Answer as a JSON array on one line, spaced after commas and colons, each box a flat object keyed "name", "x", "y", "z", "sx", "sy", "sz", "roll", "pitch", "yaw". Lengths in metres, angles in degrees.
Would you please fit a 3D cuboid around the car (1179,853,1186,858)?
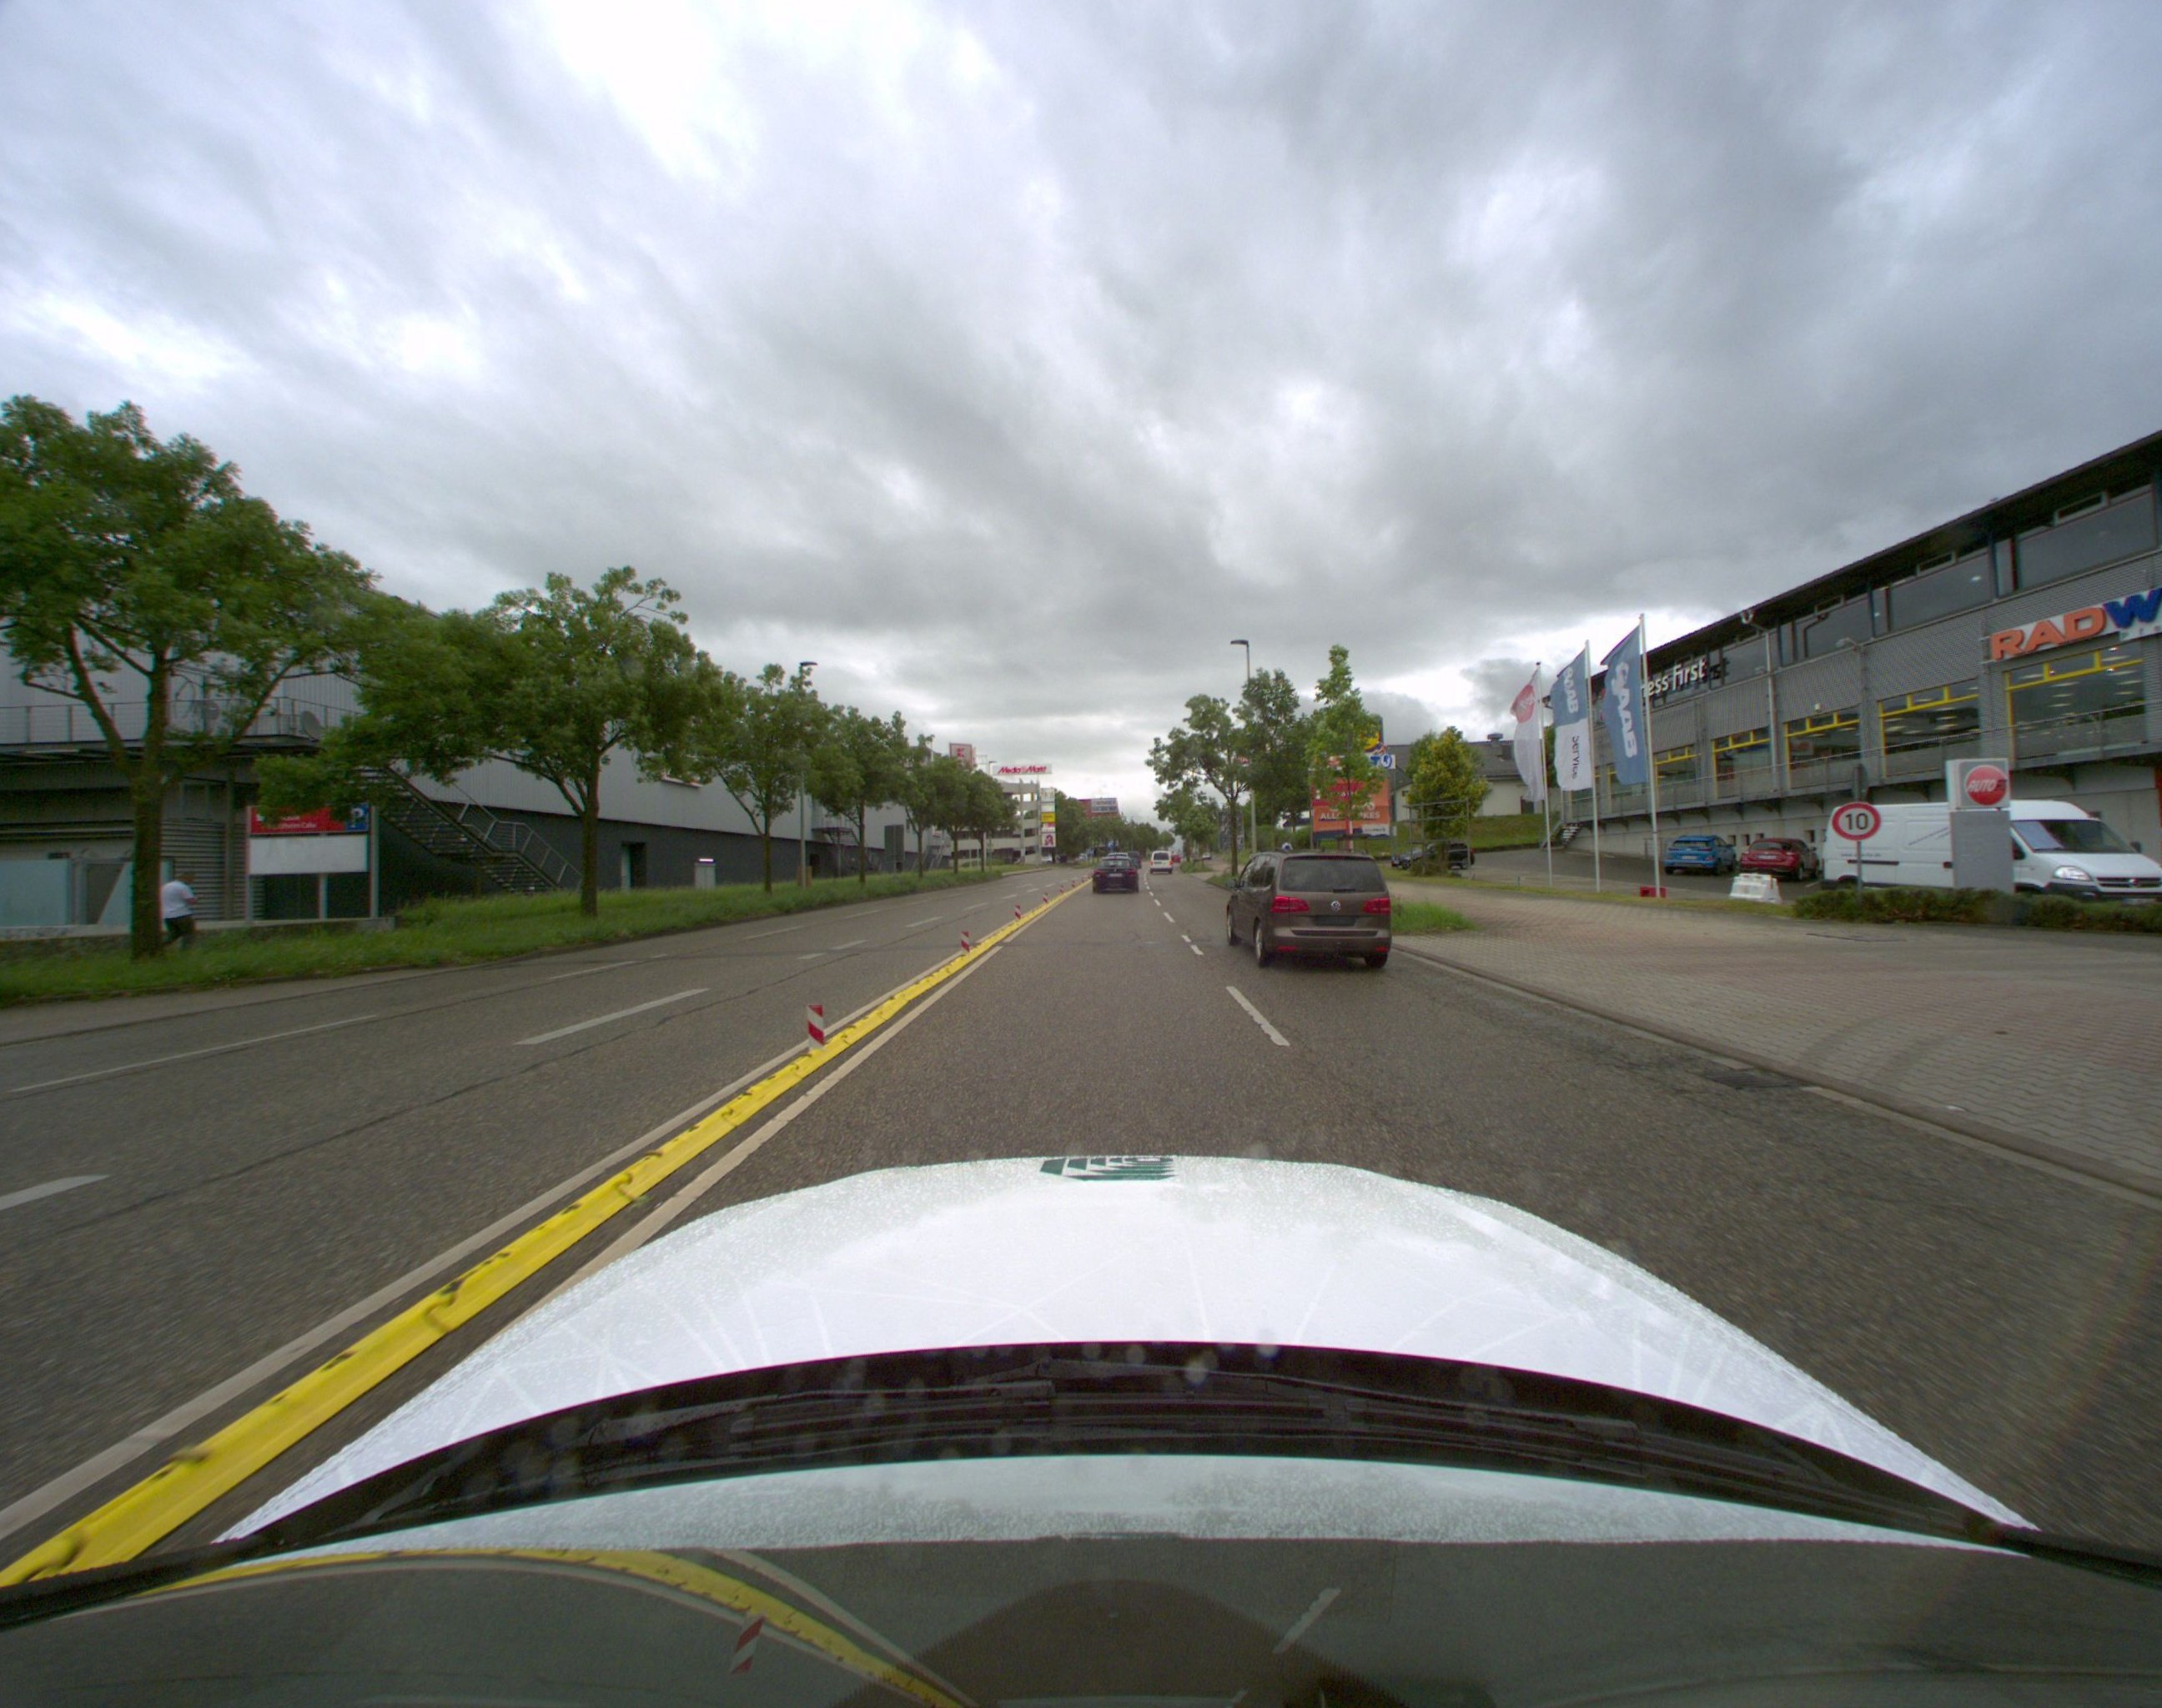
[{"name": "car", "x": 28.576, "y": 0.428, "z": 229.430, "sx": 1.786, "sy": 1.510, "sz": 4.005, "roll": 0, "pitch": -1, "yaw": 5}]

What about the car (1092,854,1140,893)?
[{"name": "car", "x": 1.459, "y": 0.757, "z": 33.551, "sx": 1.820, "sy": 1.468, "sz": 4.003, "roll": -1, "pitch": 0, "yaw": 3}]

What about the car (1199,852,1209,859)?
[{"name": "car", "x": 25.526, "y": 0.284, "z": 168.778, "sx": 1.785, "sy": 1.510, "sz": 4.006, "roll": 0, "pitch": -1, "yaw": 5}]

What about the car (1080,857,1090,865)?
[{"name": "car", "x": 0.973, "y": 1.625, "z": 196.712, "sx": 2.029, "sy": 1.762, "sz": 4.955, "roll": 0, "pitch": 1, "yaw": 6}]

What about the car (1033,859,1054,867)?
[{"name": "car", "x": -8.606, "y": 2.014, "z": 188.043, "sx": 4.583, "sy": 1.745, "sz": 1.968, "roll": -1, "pitch": 1, "yaw": 1}]

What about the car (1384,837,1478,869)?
[{"name": "car", "x": 17.552, "y": -0.057, "z": 40.901, "sx": 4.091, "sy": 1.438, "sz": 1.791, "roll": -2, "pitch": 2, "yaw": -10}]

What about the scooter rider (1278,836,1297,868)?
[{"name": "scooter rider", "x": 12.207, "y": -0.110, "z": 48.158, "sx": 0.694, "sy": 1.820, "sz": 0.856, "roll": -3, "pitch": -3, "yaw": -7}]

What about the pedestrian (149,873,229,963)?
[{"name": "pedestrian", "x": -16.339, "y": 1.143, "z": 14.933, "sx": 0.581, "sy": 1.583, "sz": 0.768, "roll": 0, "pitch": 0, "yaw": 4}]

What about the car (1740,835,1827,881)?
[{"name": "car", "x": 26.269, "y": 0.101, "z": 30.437, "sx": 3.893, "sy": 1.501, "sz": 1.720, "roll": -3, "pitch": 2, "yaw": -38}]

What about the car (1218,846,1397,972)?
[{"name": "car", "x": 3.220, "y": 0.682, "z": 12.410, "sx": 1.679, "sy": 1.581, "sz": 4.220, "roll": 0, "pitch": 1, "yaw": 2}]

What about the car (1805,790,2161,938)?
[{"name": "car", "x": 18.402, "y": 0.077, "z": 16.789, "sx": 2.217, "sy": 2.536, "sz": 5.689, "roll": 0, "pitch": 2, "yaw": 5}]

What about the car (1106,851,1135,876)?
[{"name": "car", "x": 2.586, "y": 0.615, "z": 52.510, "sx": 1.786, "sy": 1.510, "sz": 4.004, "roll": 0, "pitch": -1, "yaw": 4}]

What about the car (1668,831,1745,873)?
[{"name": "car", "x": 26.064, "y": -0.109, "z": 33.891, "sx": 3.931, "sy": 1.559, "sz": 1.720, "roll": -3, "pitch": 2, "yaw": -39}]

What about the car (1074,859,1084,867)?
[{"name": "car", "x": -0.435, "y": 2.046, "z": 182.401, "sx": 1.924, "sy": 1.608, "sz": 4.717, "roll": 0, "pitch": 1, "yaw": 4}]

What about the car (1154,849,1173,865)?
[{"name": "car", "x": 8.257, "y": 0.304, "z": 81.508, "sx": 1.786, "sy": 1.510, "sz": 4.004, "roll": 0, "pitch": -1, "yaw": 4}]

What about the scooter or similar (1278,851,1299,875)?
[{"name": "scooter or similar", "x": 12.254, "y": 0.539, "z": 48.109, "sx": 0.694, "sy": 1.264, "sz": 1.397, "roll": -3, "pitch": -3, "yaw": -7}]

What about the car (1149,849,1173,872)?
[{"name": "car", "x": 6.363, "y": 0.492, "z": 65.154, "sx": 1.818, "sy": 1.759, "sz": 4.006, "roll": 0, "pitch": 0, "yaw": 5}]

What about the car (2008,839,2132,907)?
[{"name": "car", "x": 25.605, "y": 0.413, "z": 21.216, "sx": 4.284, "sy": 1.470, "sz": 1.762, "roll": -3, "pitch": 2, "yaw": -43}]

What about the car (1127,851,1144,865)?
[{"name": "car", "x": 6.024, "y": 0.411, "z": 89.429, "sx": 1.786, "sy": 1.510, "sz": 4.004, "roll": 0, "pitch": -1, "yaw": 4}]
